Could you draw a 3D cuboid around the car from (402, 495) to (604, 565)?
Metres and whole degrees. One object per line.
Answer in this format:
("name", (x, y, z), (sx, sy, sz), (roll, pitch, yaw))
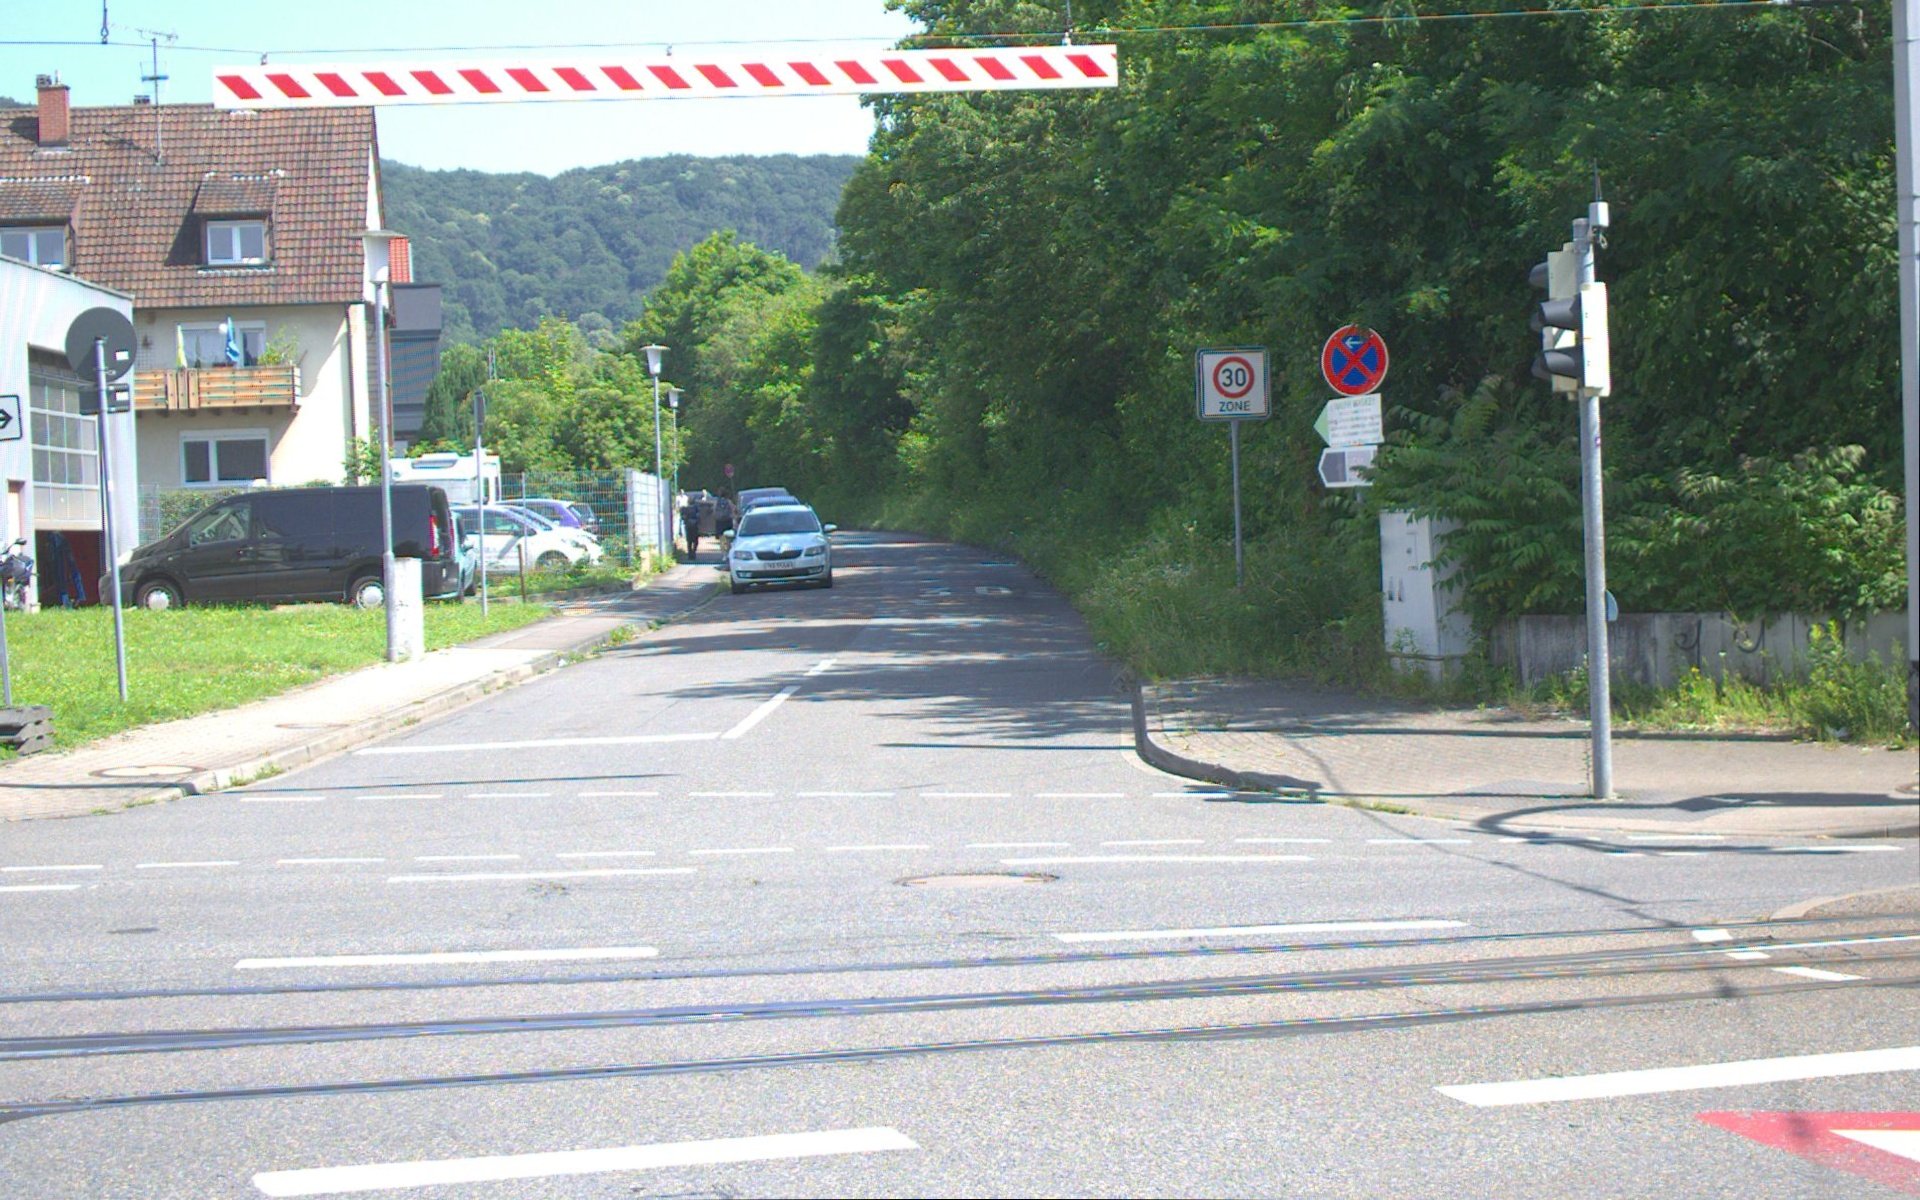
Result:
("car", (-8.956, -1.371, 67.511), (3.720, 1.367, 1.604), (0, 0, 1))

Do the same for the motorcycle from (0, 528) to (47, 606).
("motorcycle", (-12.951, -0.435, 45.627), (0.852, 1.028, 2.567), (0, 0, 3))

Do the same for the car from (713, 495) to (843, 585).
("car", (-3.204, -1.100, 61.368), (2.086, 1.505, 4.540), (0, 2, 0))

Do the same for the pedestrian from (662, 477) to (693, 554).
("pedestrian", (-6.499, -1.944, 79.221), (0.654, 1.757, 0.804), (0, 0, -1))

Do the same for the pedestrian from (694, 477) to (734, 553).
("pedestrian", (-5.668, -1.958, 79.317), (0.876, 1.757, 0.731), (0, 0, -1))

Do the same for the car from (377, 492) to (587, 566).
("car", (-8.986, -1.333, 64.781), (3.720, 1.367, 1.604), (0, 0, 1))

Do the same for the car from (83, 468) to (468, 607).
("car", (-10.041, -0.932, 50.726), (5.247, 1.810, 2.000), (-2, 1, -1))
